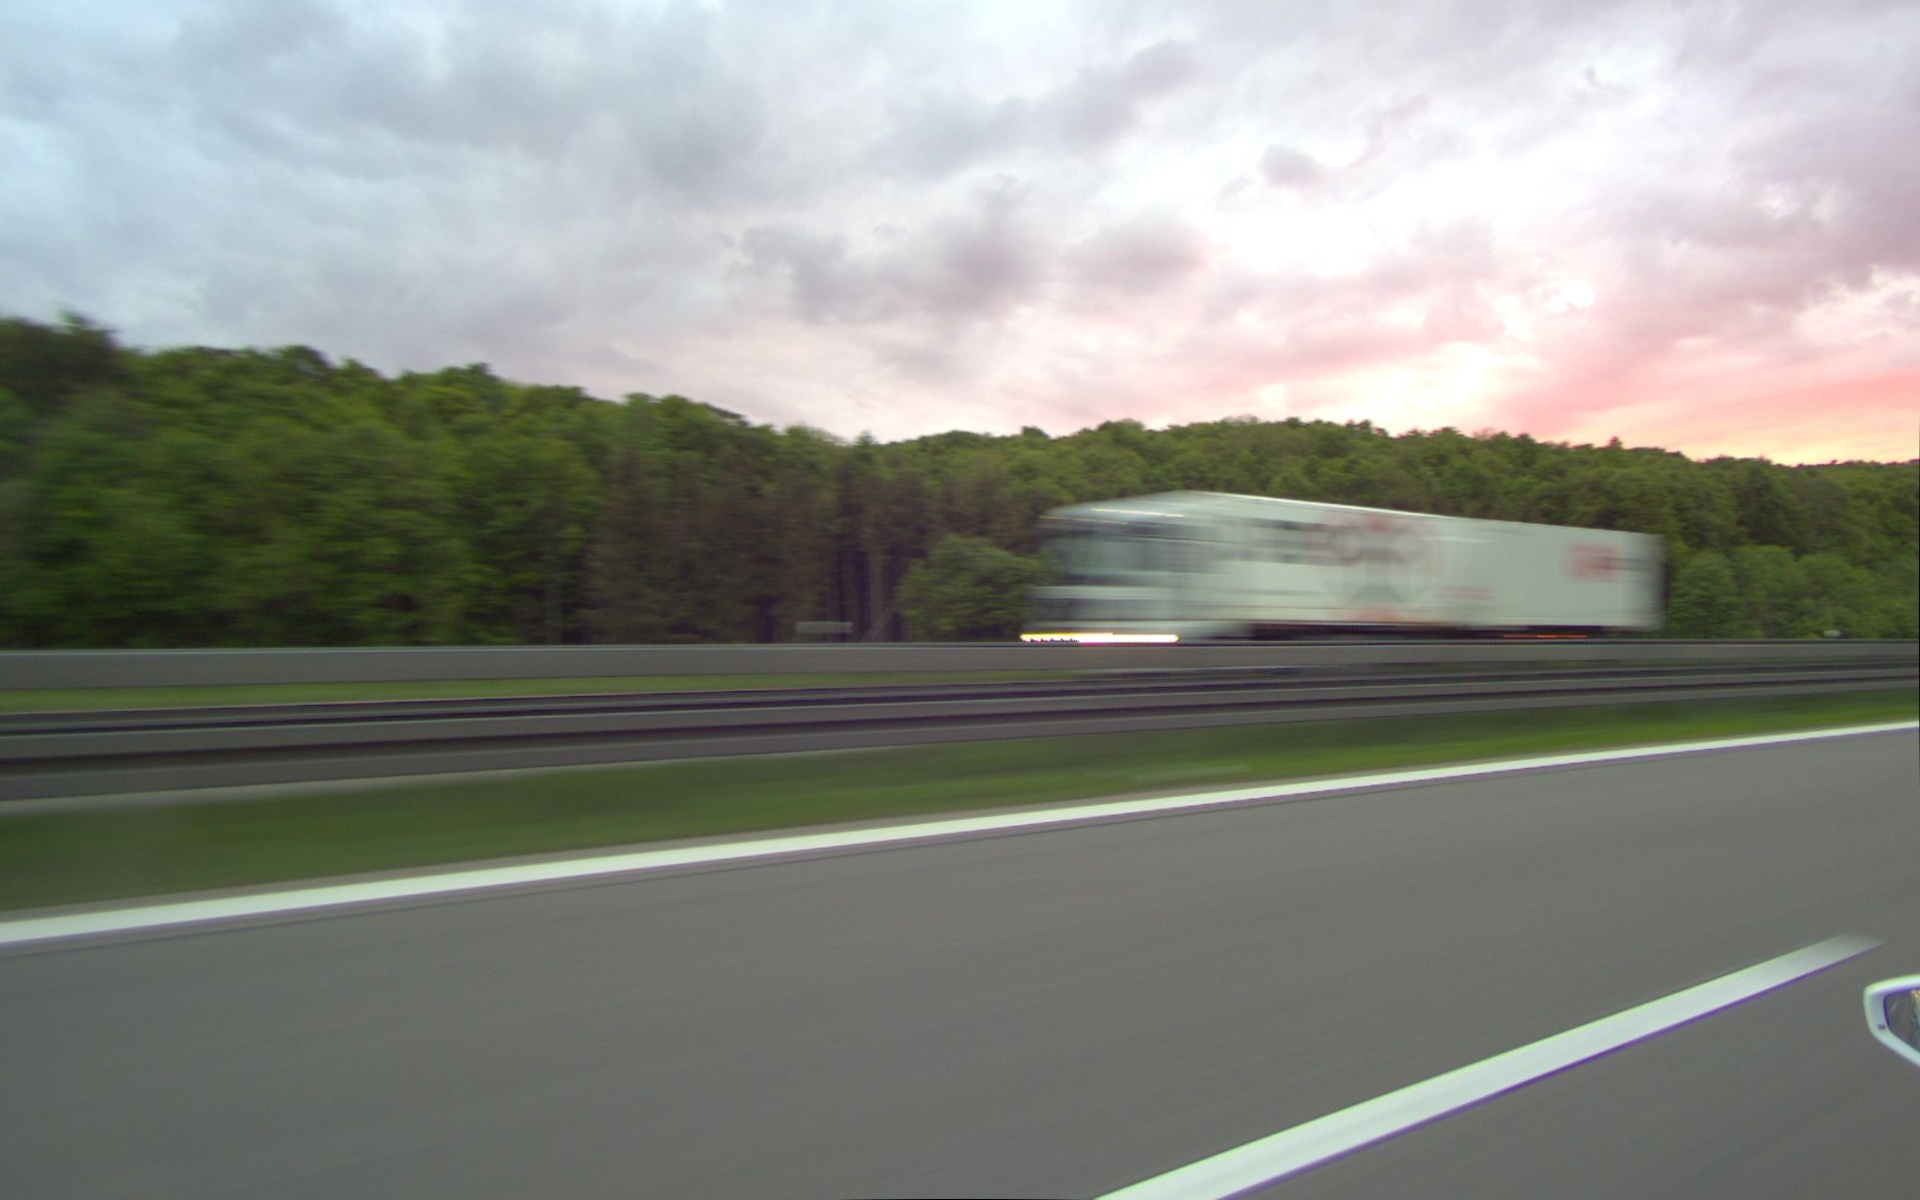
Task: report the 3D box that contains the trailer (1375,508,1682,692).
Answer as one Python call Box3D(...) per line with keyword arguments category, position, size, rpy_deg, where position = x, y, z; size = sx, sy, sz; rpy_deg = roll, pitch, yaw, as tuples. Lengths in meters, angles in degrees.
Box3D(category="trailer", position=(15.651, 0.098, 27.399), size=(9.175, 4.374, 2.821), rpy_deg=(1, -1, -28))

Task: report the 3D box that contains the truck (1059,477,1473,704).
Box3D(category="truck", position=(7.188, -0.072, 22.811), size=(9.940, 4.337, 2.853), rpy_deg=(1, -1, -29))
